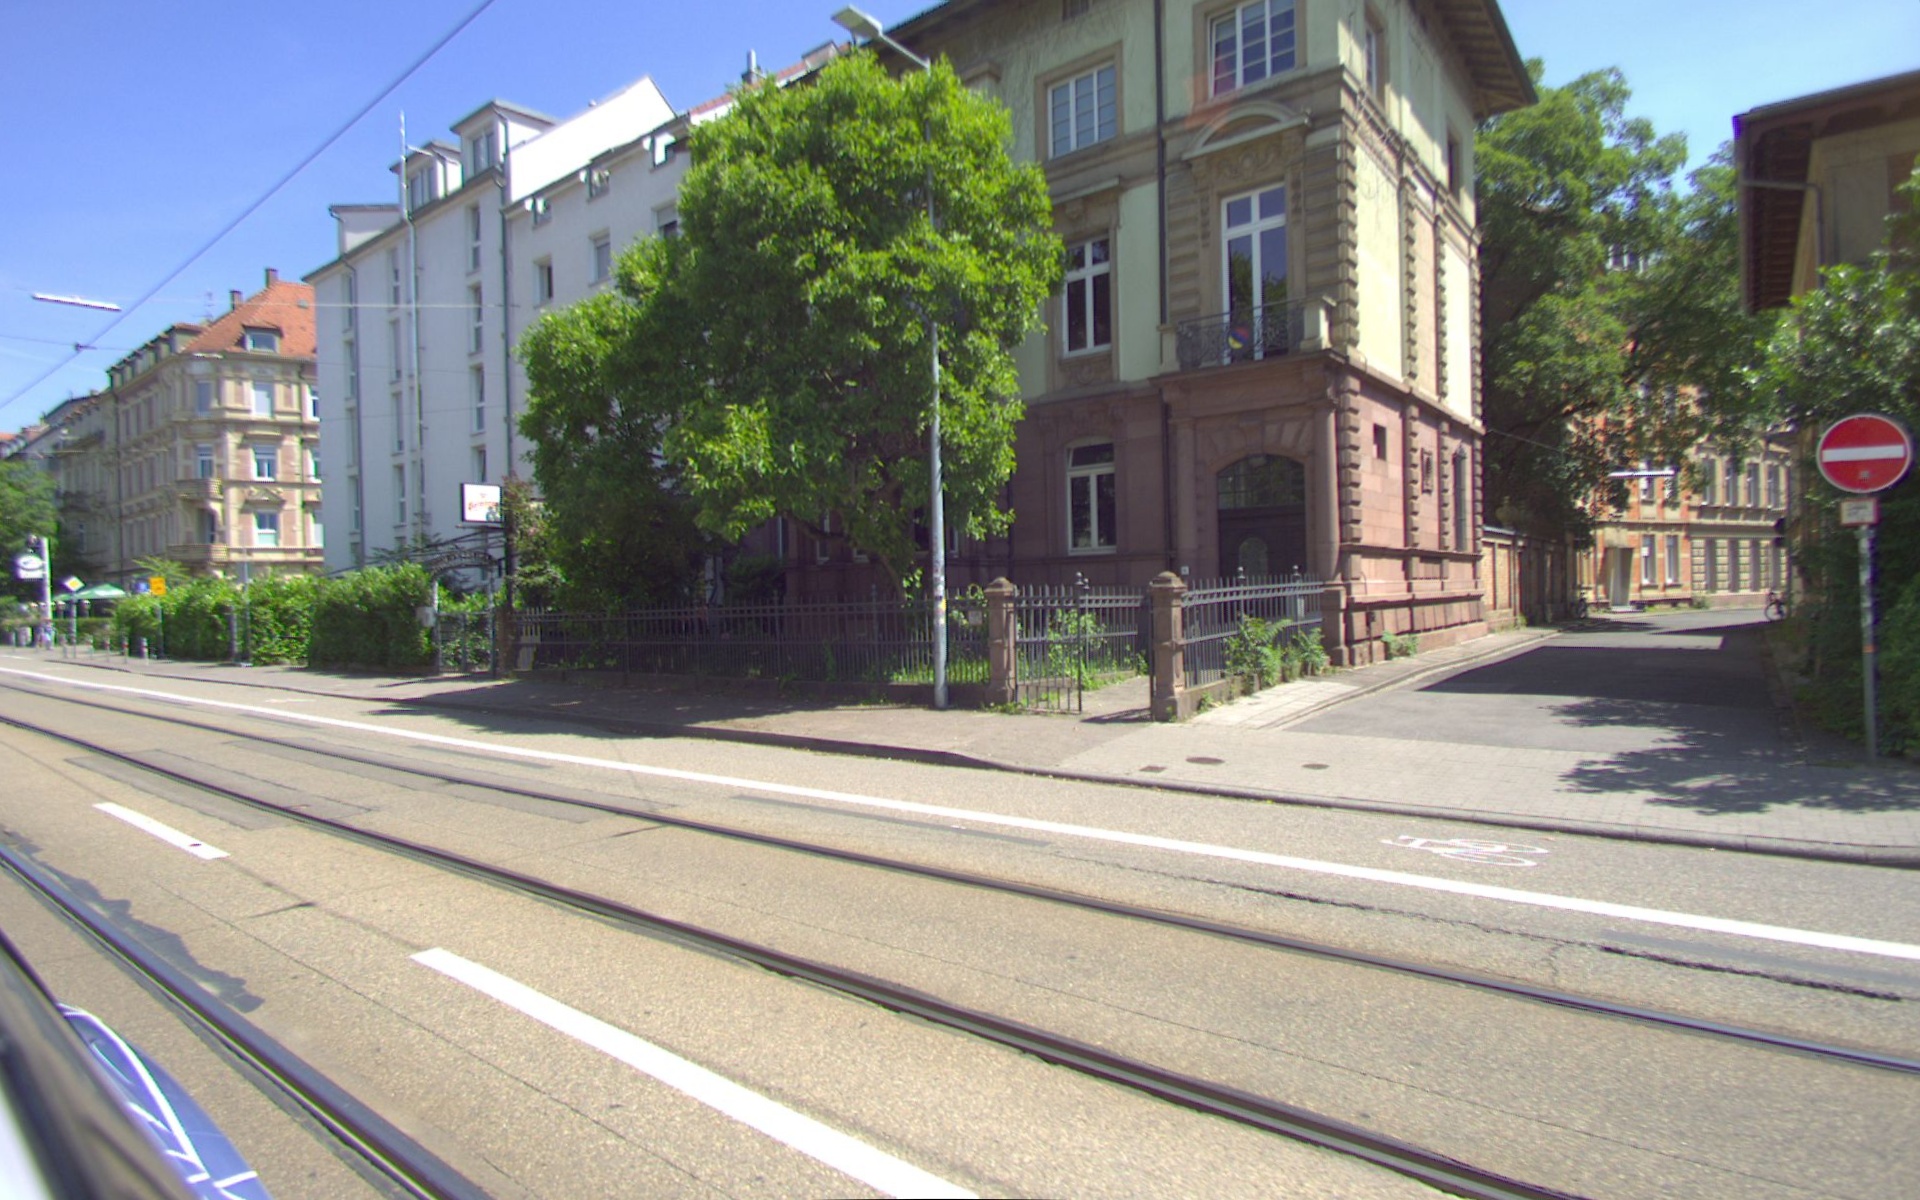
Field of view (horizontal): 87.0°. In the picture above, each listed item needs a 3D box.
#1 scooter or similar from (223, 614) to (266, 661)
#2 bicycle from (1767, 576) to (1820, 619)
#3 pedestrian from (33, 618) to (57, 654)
[{"bbox_3d":[-23.510,1.212,33.270,0.596,1.461,0.999,0,2,38],"label":"scooter or similar"},{"bbox_3d":[26.482,-0.099,32.129,2.900,1.286,0.787,-2,0,-40],"label":"bicycle"},{"bbox_3d":[-44.012,1.732,48.665,0.939,1.654,0.732,-1,1,41],"label":"pedestrian"}]
